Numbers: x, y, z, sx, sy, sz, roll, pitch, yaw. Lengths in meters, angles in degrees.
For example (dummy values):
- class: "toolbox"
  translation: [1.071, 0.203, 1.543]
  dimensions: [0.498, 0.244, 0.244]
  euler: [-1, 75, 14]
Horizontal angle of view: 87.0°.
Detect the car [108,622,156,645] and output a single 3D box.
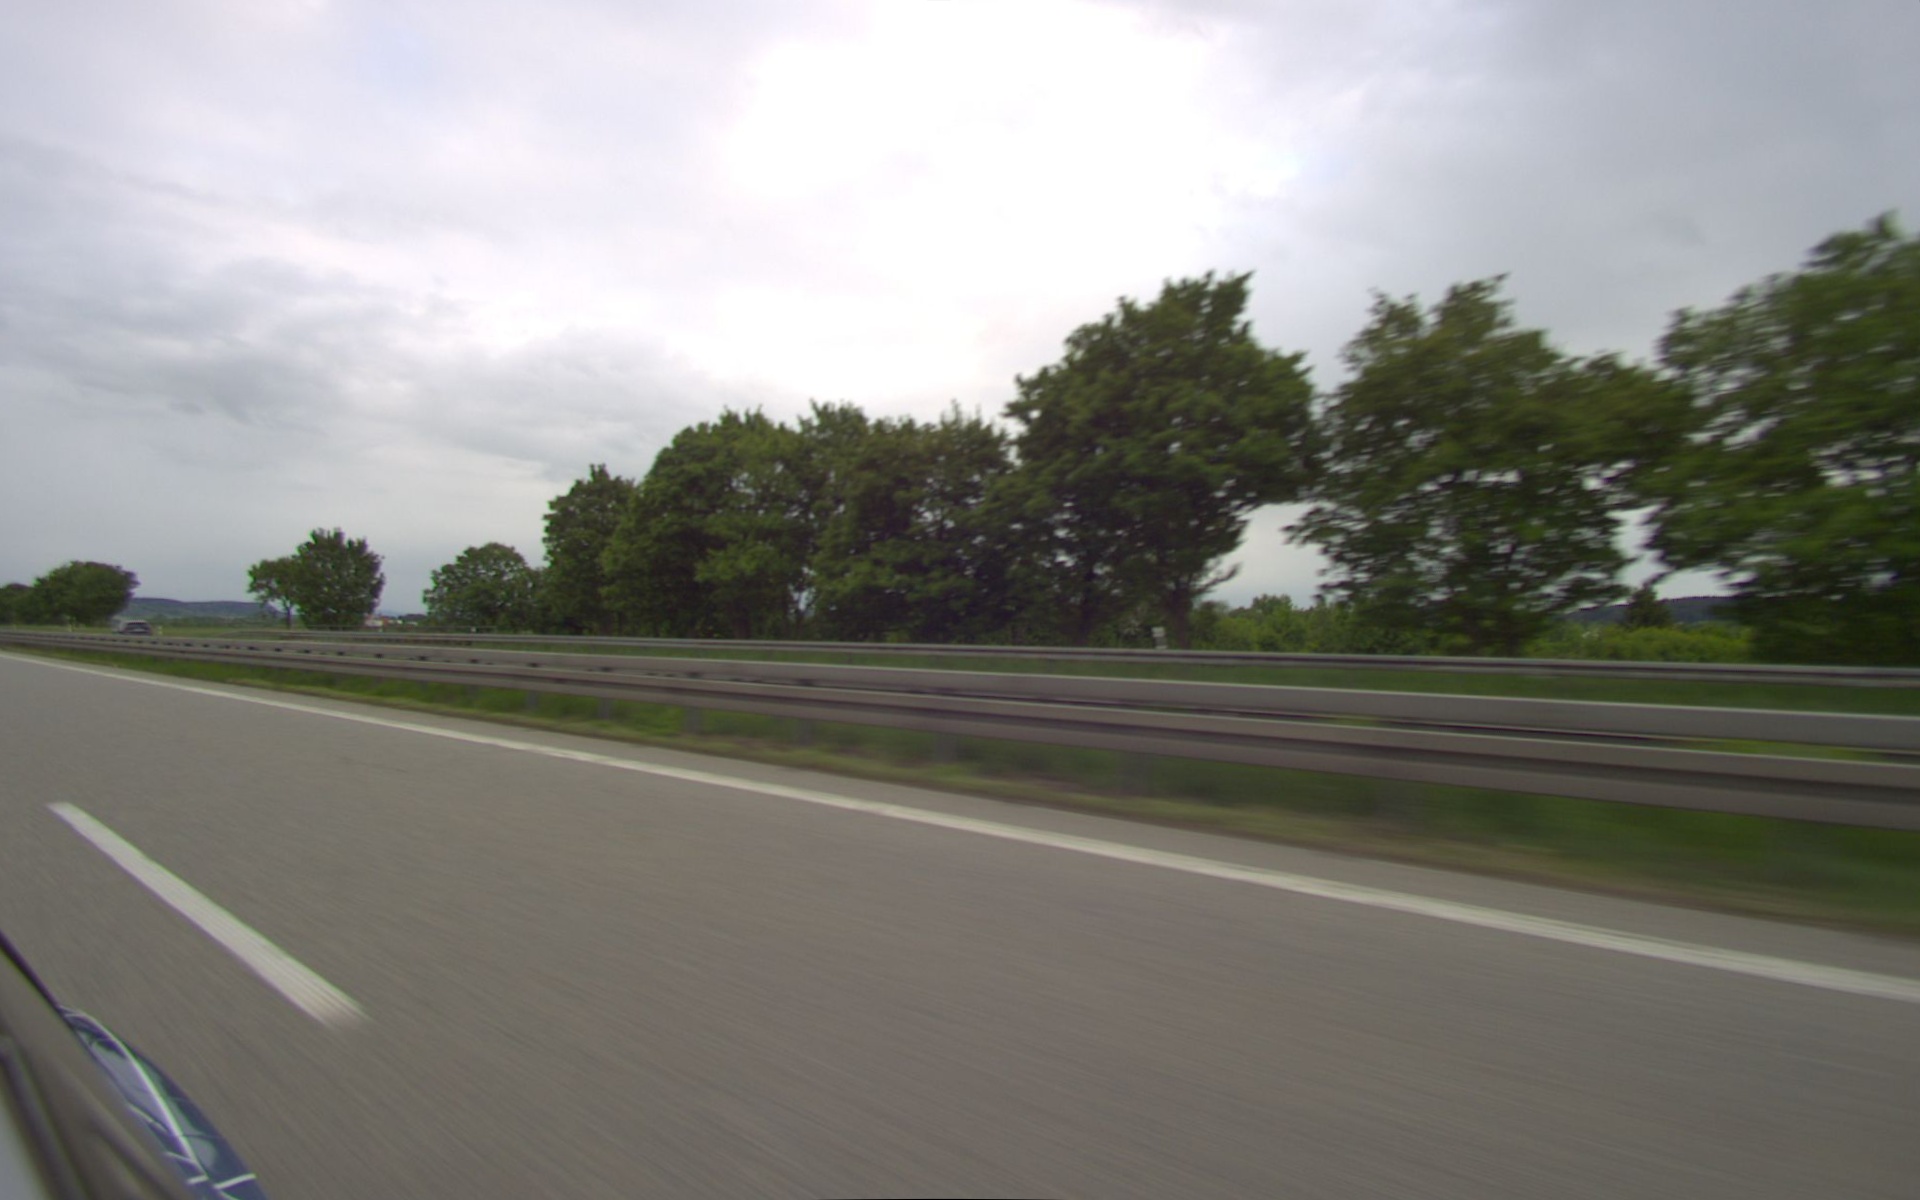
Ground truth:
- class: "car"
  translation: [-61.775, 2.504, 75.462]
  dimensions: [4.807, 1.594, 1.973]
  euler: [-1, 0, 41]
